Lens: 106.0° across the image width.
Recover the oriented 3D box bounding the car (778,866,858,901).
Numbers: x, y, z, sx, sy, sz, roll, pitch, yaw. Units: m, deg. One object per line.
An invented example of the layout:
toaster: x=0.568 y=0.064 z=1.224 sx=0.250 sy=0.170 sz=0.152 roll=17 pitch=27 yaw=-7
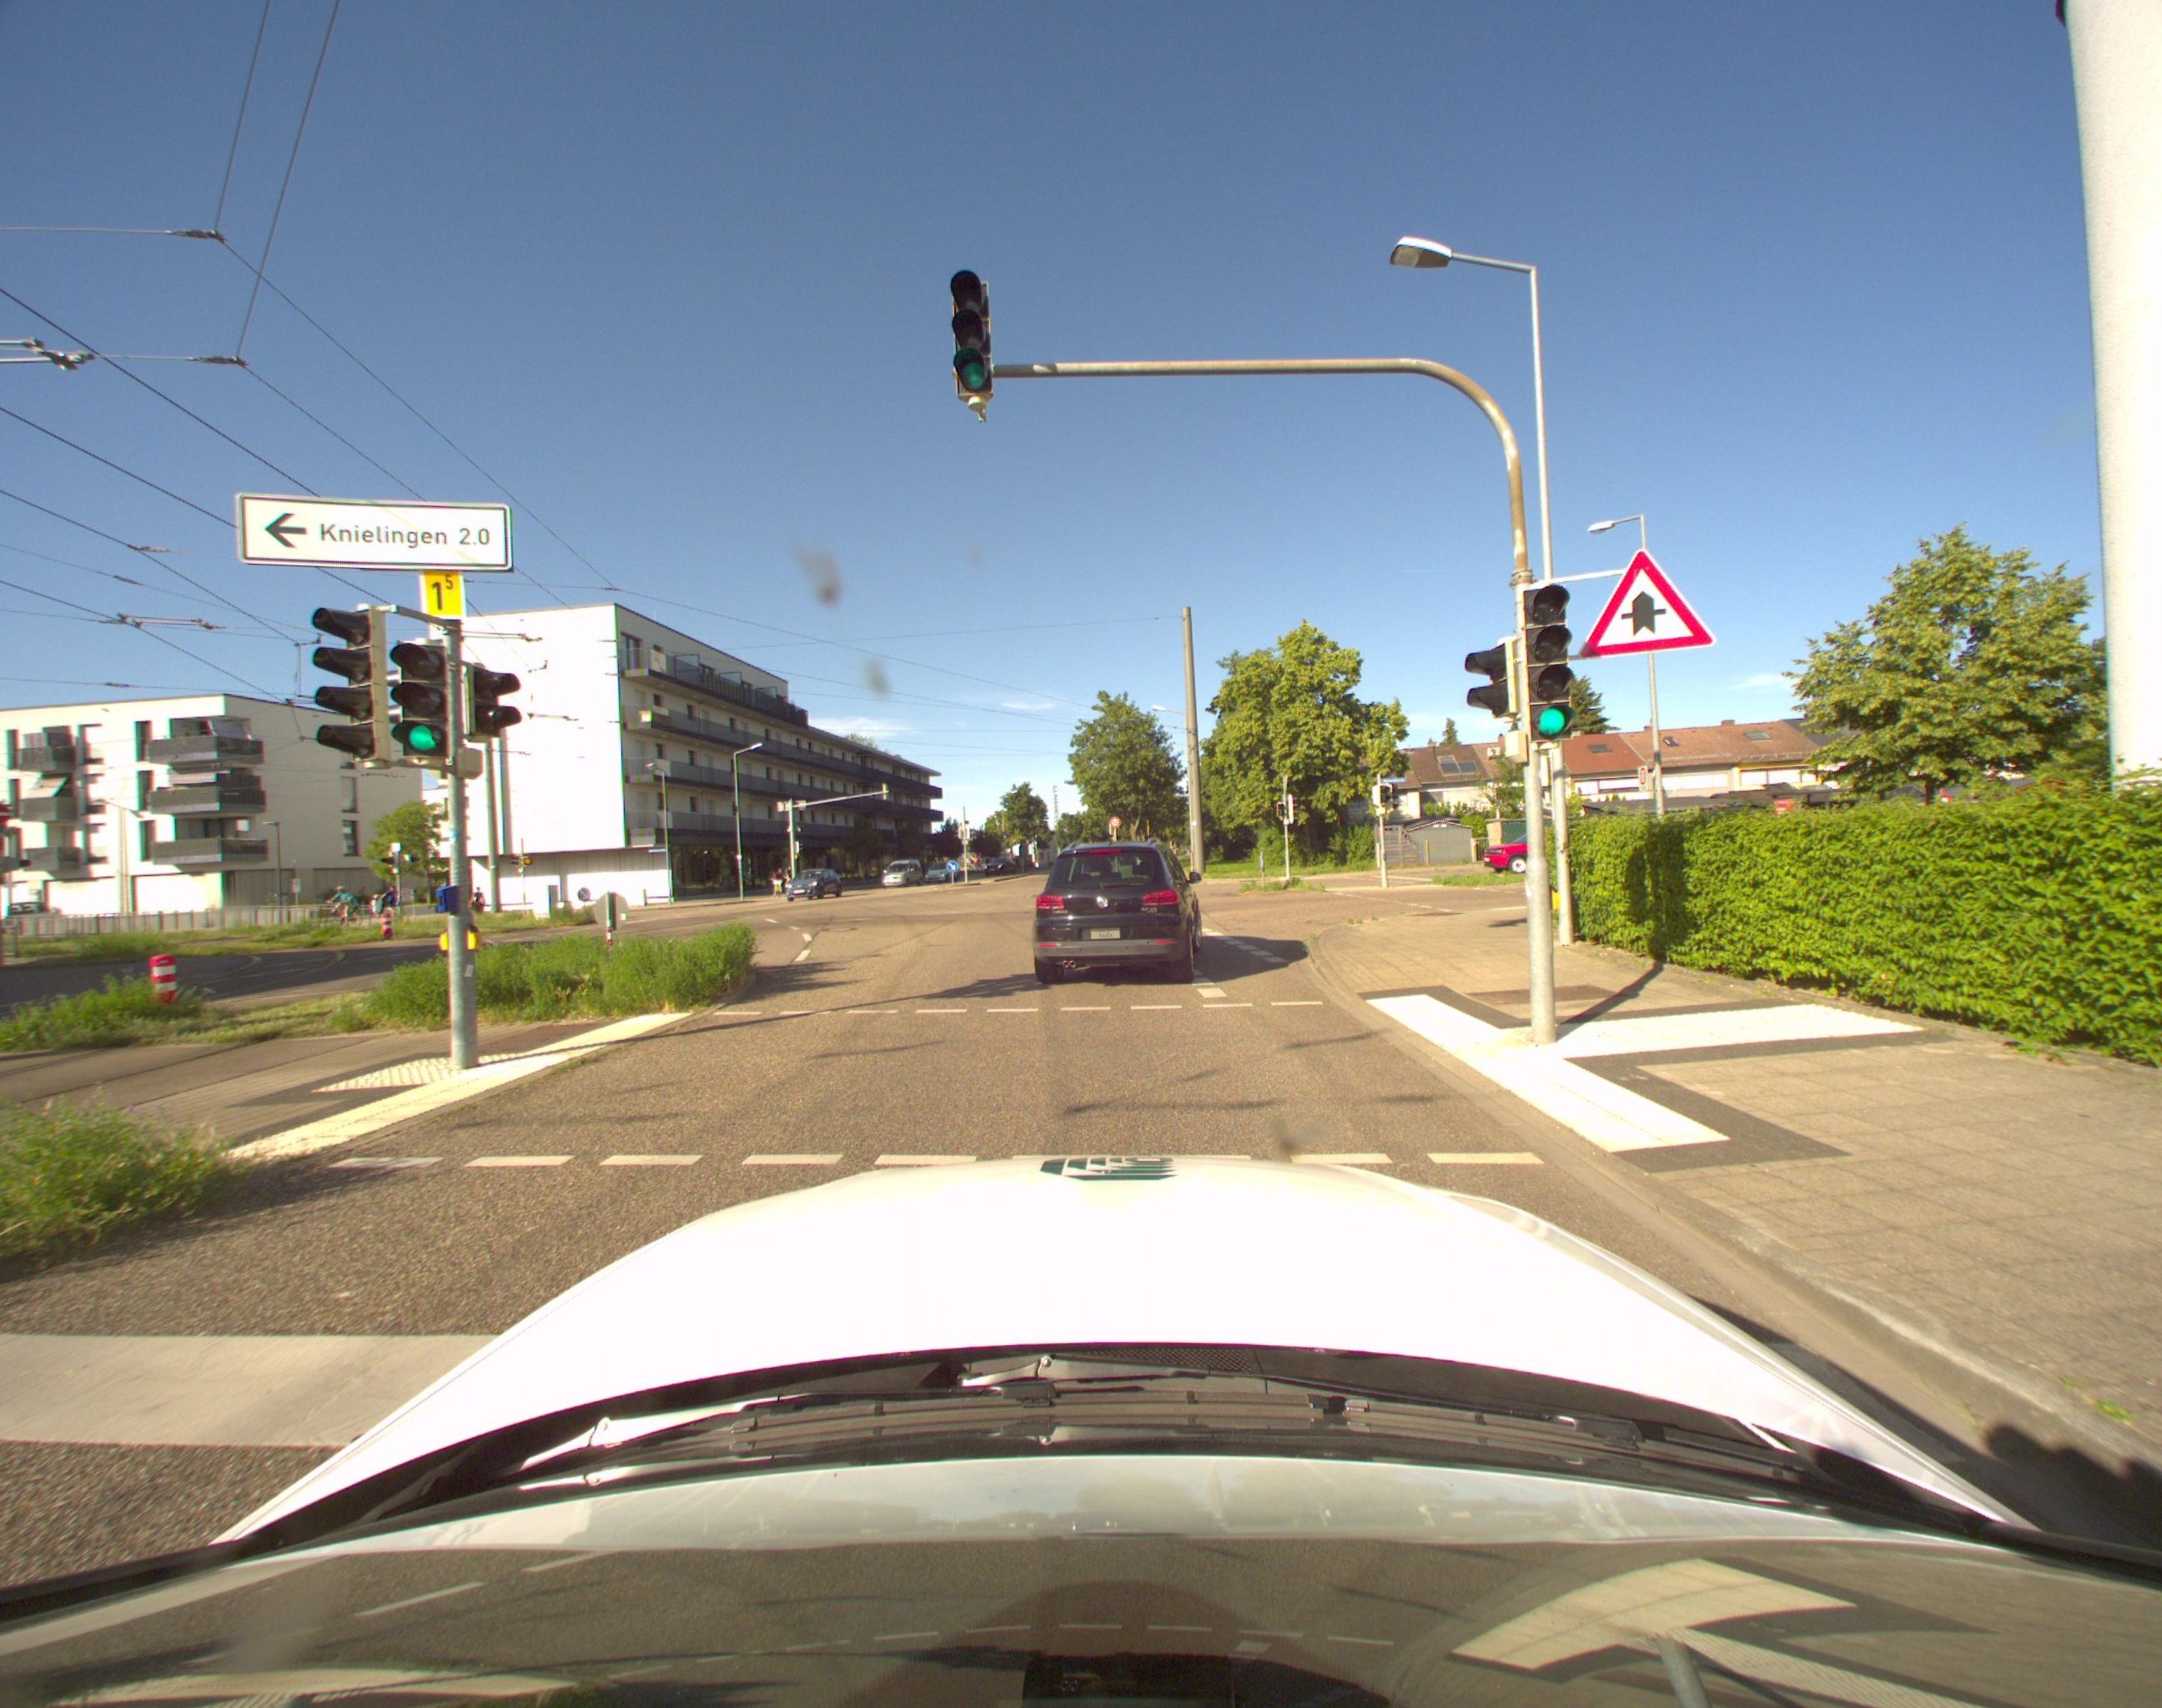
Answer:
car: x=-12.859 y=1.412 z=40.119 sx=1.684 sy=1.456 sz=4.467 roll=-3 pitch=0 yaw=12

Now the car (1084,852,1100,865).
car: x=1.720 y=0.691 z=128.397 sx=1.984 sy=1.737 sz=5.207 roll=-3 pitch=0 yaw=6

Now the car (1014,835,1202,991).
car: x=0.603 y=0.638 z=11.009 sx=1.918 sy=1.654 sz=4.526 roll=-1 pitch=0 yaw=10

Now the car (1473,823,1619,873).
car: x=16.870 y=-0.221 z=29.737 sx=4.144 sy=1.588 sz=1.951 roll=-3 pitch=0 yaw=8

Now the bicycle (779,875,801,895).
bicycle: x=-17.344 y=1.853 z=48.522 sx=0.749 sy=1.144 sz=1.624 roll=-3 pitch=0 yaw=-39

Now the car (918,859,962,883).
car: x=-10.462 y=1.257 z=60.708 sx=1.981 sy=1.487 sz=3.554 roll=-5 pitch=0 yaw=10

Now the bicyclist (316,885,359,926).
bicyclist: x=-30.556 y=2.096 z=33.485 sx=0.886 sy=1.592 sz=0.916 roll=-3 pitch=0 yaw=12

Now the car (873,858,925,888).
car: x=-11.739 y=1.174 z=52.740 sx=1.984 sy=1.755 sz=4.367 roll=-3 pitch=0 yaw=4

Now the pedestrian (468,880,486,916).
pedestrian: x=-28.032 y=2.024 z=37.799 sx=0.455 sy=1.622 sz=0.504 roll=-1 pitch=0 yaw=1

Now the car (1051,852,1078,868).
car: x=-1.807 y=0.662 z=90.460 sx=1.980 sy=1.571 sz=4.013 roll=-3 pitch=0 yaw=12

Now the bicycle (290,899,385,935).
bicycle: x=-30.517 y=2.575 z=33.526 sx=0.894 sy=1.198 sz=2.835 roll=-3 pitch=0 yaw=13

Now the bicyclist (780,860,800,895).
bicyclist: x=-17.347 y=1.398 z=48.494 sx=0.815 sy=2.013 sz=0.786 roll=-3 pitch=0 yaw=-39

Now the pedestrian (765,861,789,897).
pedestrian: x=-17.612 y=1.431 z=47.190 sx=0.973 sy=2.013 sz=0.761 roll=-3 pitch=0 yaw=1

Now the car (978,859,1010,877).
car: x=-7.910 y=1.262 z=74.602 sx=1.957 sy=1.534 sz=4.748 roll=-3 pitch=0 yaw=6
